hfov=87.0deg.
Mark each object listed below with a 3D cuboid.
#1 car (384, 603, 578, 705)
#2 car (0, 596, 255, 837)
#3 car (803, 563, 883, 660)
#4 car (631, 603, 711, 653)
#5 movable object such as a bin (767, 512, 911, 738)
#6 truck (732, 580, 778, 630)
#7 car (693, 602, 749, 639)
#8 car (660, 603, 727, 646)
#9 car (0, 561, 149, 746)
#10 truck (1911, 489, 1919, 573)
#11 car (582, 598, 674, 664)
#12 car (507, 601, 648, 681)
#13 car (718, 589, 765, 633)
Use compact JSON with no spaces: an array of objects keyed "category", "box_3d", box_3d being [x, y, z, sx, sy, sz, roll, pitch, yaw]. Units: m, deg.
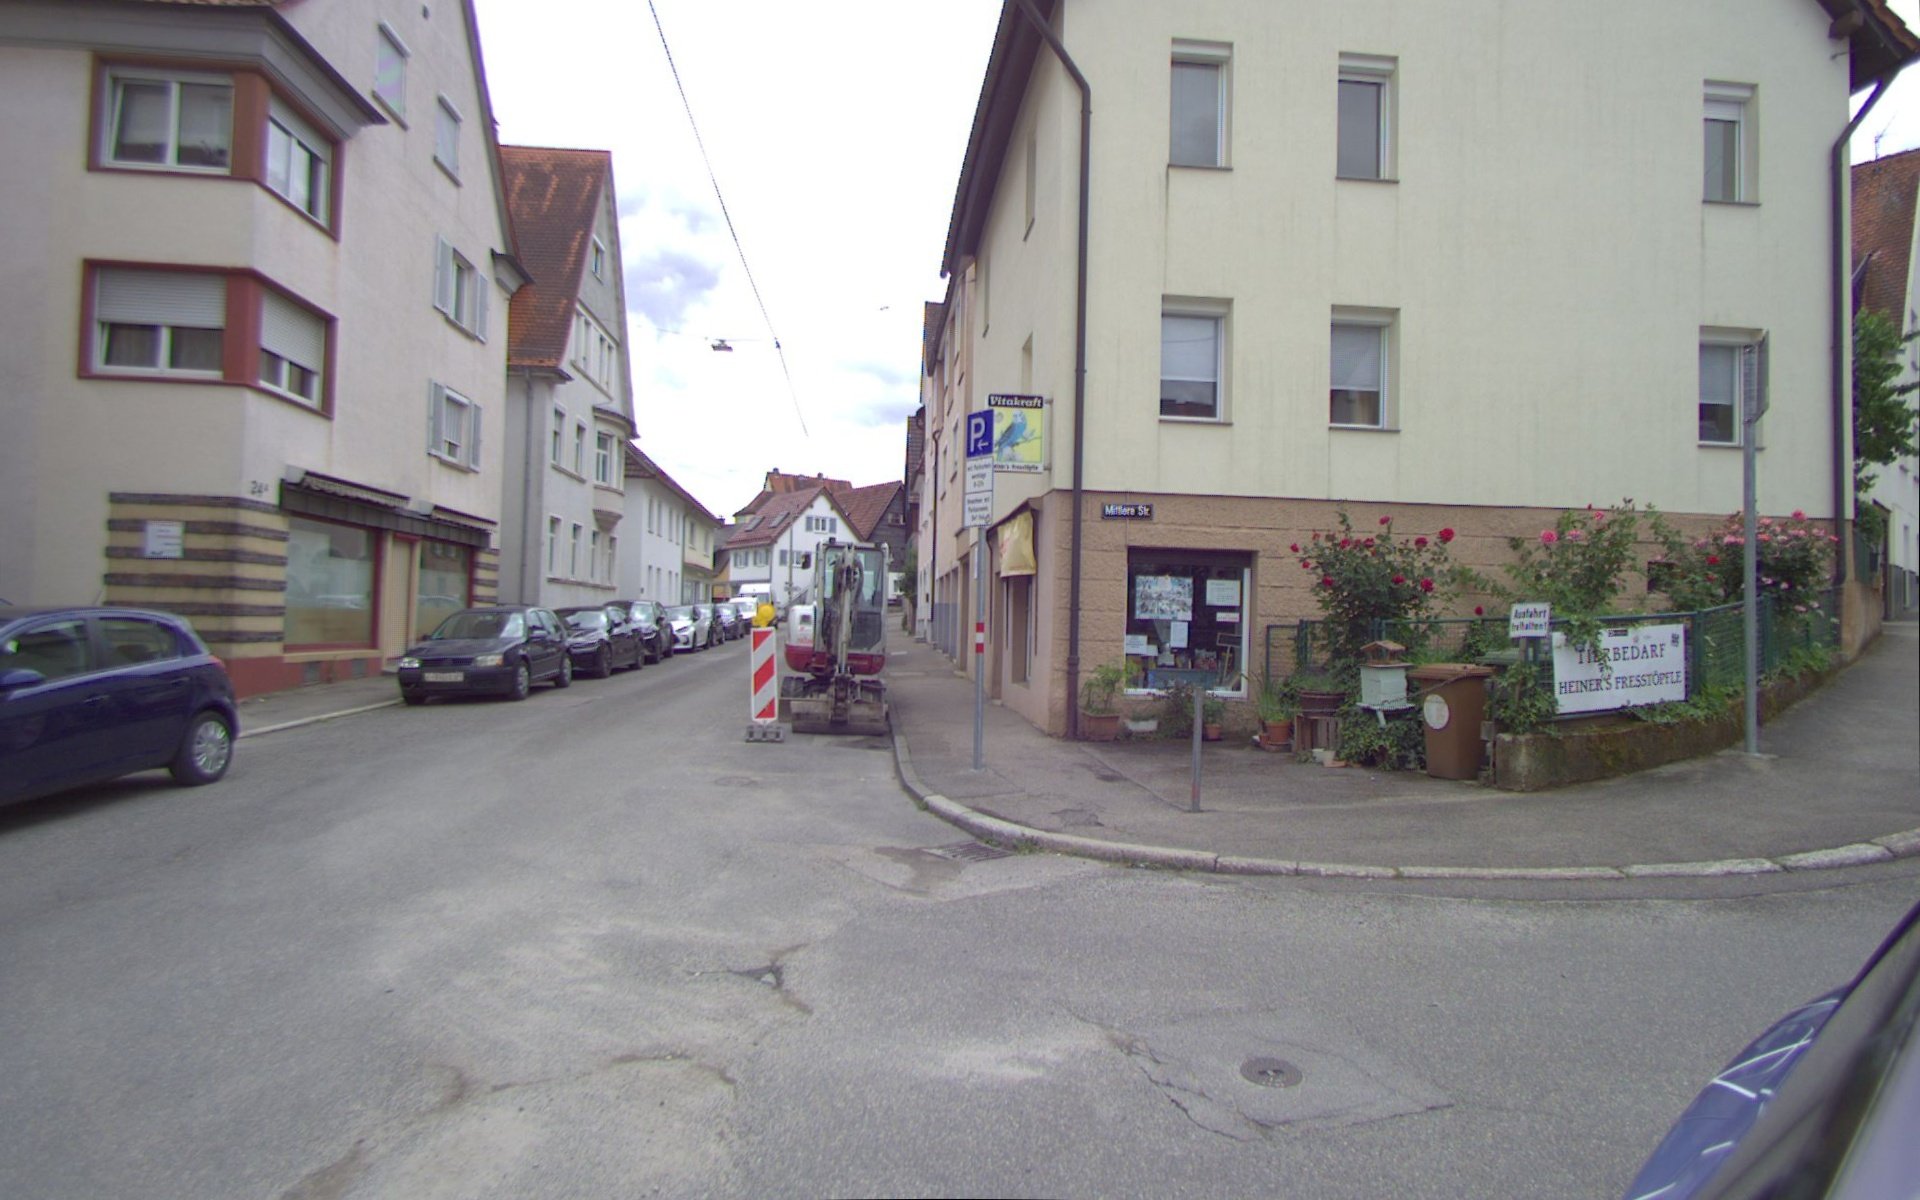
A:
[{"category":"car","box_3d":[-7.565,0.777,16.398,1.663,1.421,4.006,-1,0,-7]},{"category":"car","box_3d":[-6.748,0.743,6.702,1.663,1.468,3.923,-2,0,-5]},{"category":"car","box_3d":[-3.375,0.321,29.254,1.960,2.418,6.628,2,-1,-7]},{"category":"car","box_3d":[-8.996,0.826,31.784,1.663,1.407,3.804,-2,0,-4]},{"category":"movable object such as a bin","box_3d":[-1.704,0.300,13.972,1.540,2.532,4.680,3,-1,-8]},{"category":"truck","box_3d":[-11.278,0.270,55.927,1.791,2.628,4.784,-2,0,-4]},{"category":"car","box_3d":[-9.892,0.835,42.112,1.664,1.407,3.716,-2,0,-4]},{"category":"car","box_3d":[-9.660,0.852,36.883,1.664,1.407,3.716,-2,0,-4]},{"category":"car","box_3d":[-12.202,0.650,11.146,4.805,1.889,1.954,-3,0,-4]},{"category":"truck","box_3d":[41.510,-2.954,41.472,2.668,3.642,8.000,-3,1,37]},{"category":"car","box_3d":[-8.570,0.758,26.454,1.662,1.538,4.110,-2,0,-10]},{"category":"car","box_3d":[-7.906,0.783,21.290,1.663,1.468,4.107,-2,0,-4]},{"category":"car","box_3d":[-10.767,0.526,50.119,1.664,2.029,4.096,-2,0,-4]}]
